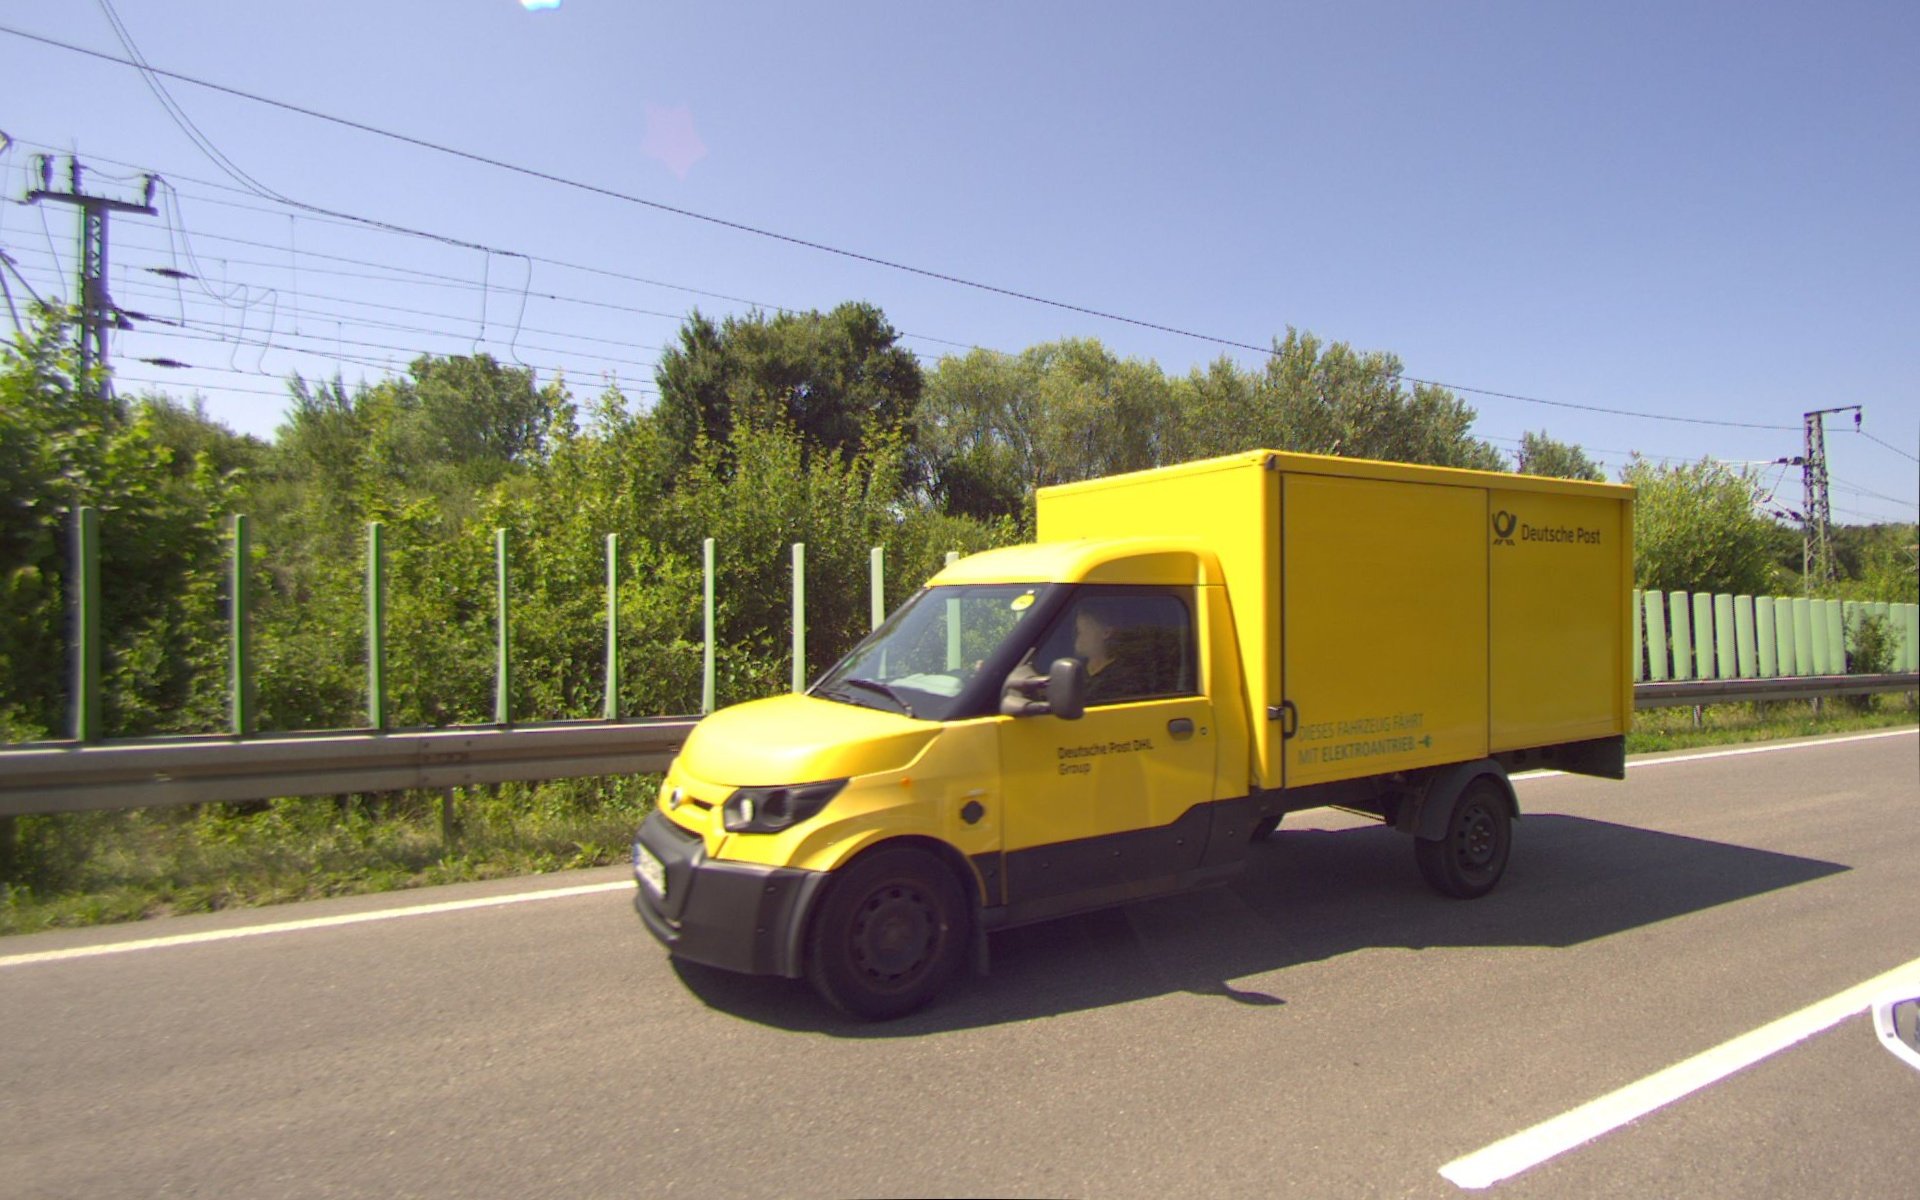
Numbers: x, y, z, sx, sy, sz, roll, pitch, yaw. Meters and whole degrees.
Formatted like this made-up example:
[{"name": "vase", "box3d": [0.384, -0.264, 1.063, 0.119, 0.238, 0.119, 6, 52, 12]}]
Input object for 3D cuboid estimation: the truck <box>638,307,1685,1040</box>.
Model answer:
[{"name": "truck", "box3d": [1.466, 0.295, 5.630, 5.941, 2.379, 1.984, 1, -1, -30]}]
